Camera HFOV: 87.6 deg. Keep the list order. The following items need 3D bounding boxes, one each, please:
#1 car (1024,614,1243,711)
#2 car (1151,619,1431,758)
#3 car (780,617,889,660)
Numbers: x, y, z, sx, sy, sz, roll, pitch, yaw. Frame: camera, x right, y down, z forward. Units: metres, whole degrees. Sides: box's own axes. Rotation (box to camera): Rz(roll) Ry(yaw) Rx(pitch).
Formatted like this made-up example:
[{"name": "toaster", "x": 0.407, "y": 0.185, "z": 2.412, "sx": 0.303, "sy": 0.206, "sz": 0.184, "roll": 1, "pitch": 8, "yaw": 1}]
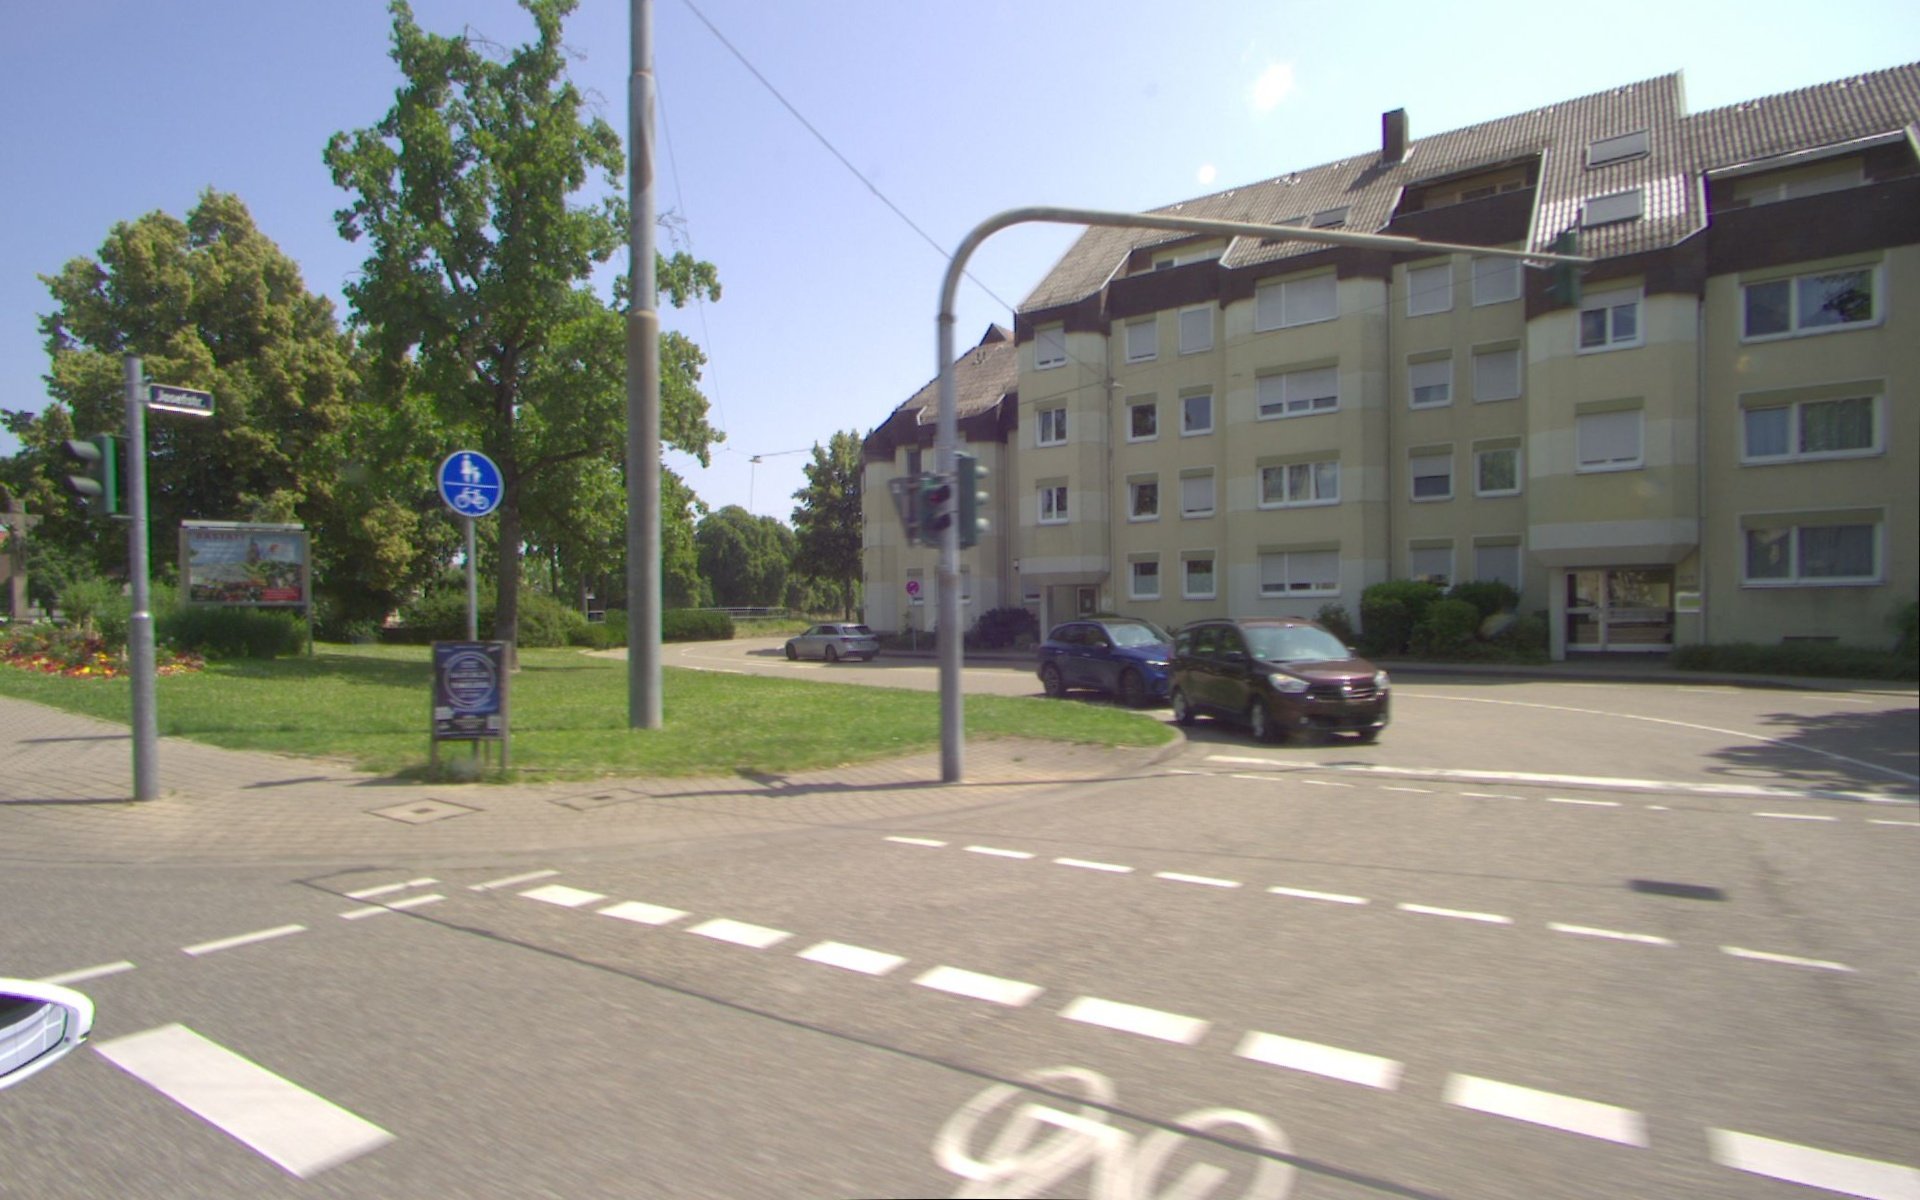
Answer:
[{"name": "car", "x": 3.393, "y": 1.188, "z": 20.638, "sx": 1.970, "sy": 1.723, "sz": 4.748, "roll": -1, "pitch": -1, "yaw": -27}, {"name": "car", "x": 4.538, "y": 1.139, "z": 14.675, "sx": 1.881, "sy": 1.653, "sz": 4.817, "roll": -1, "pitch": -1, "yaw": -9}, {"name": "car", "x": -4.773, "y": 1.432, "z": 37.577, "sx": 1.879, "sy": 1.519, "sz": 4.489, "roll": 1, "pitch": -2, "yaw": -42}]
